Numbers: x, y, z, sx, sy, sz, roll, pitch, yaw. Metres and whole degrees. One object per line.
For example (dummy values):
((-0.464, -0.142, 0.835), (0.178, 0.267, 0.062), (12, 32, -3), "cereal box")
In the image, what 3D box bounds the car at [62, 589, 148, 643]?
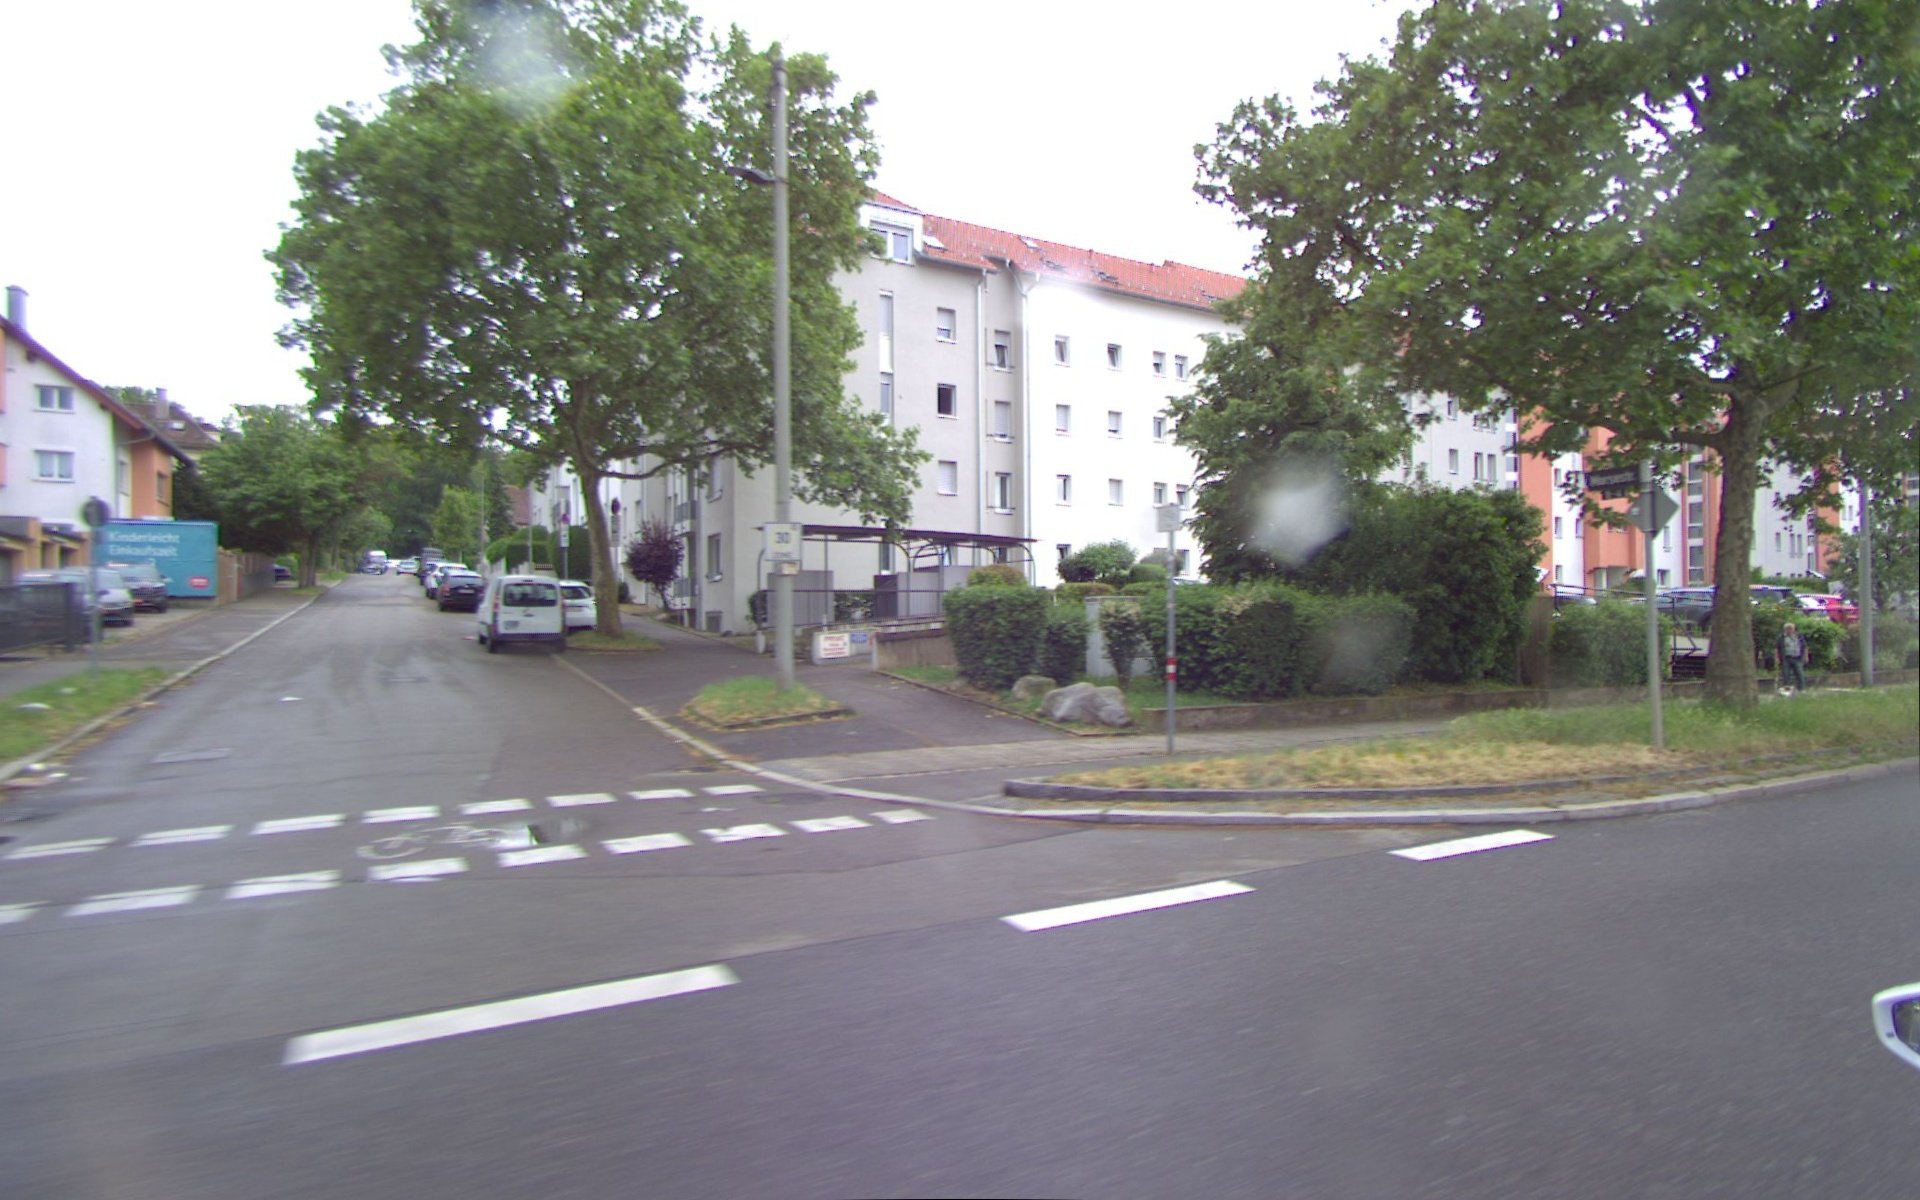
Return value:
((-20.800, 0.374, 24.502), (1.338, 1.077, 2.577), (3, 2, -35), "car")

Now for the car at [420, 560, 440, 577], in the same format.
((-40.820, -2.449, 77.353), (1.226, 1.206, 2.487), (3, 0, -29), "car")

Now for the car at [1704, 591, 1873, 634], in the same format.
((28.067, 0.401, 34.174), (1.788, 1.320, 4.070), (3, 0, -29), "car")

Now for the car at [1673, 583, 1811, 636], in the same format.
((24.529, 0.270, 31.591), (1.420, 1.563, 3.116), (3, 0, -29), "car")

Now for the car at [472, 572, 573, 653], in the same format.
((-11.039, 0.266, 25.202), (1.858, 1.802, 3.968), (3, 1, -30), "car")

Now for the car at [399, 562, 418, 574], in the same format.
((-53.641, -3.109, 97.740), (1.559, 1.077, 2.374), (3, 0, -30), "car")

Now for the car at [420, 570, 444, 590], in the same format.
((-33.010, -1.252, 62.782), (1.226, 1.206, 2.487), (3, 0, -29), "car")

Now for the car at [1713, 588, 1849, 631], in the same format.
((26.716, 0.285, 32.778), (1.420, 1.287, 3.116), (3, 0, -29), "car")

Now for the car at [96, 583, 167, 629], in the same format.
((-23.498, 0.167, 28.554), (1.321, 1.077, 2.607), (3, 2, -35), "car")

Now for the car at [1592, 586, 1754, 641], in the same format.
((21.920, 0.388, 30.994), (1.877, 1.518, 3.631), (3, 0, -33), "car")

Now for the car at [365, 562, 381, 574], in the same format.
((-53.184, -2.889, 91.061), (1.200, 1.077, 2.374), (3, 0, -30), "car")

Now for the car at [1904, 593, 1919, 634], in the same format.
((42.419, 0.627, 41.540), (1.977, 1.694, 4.523), (3, 0, -30), "car")

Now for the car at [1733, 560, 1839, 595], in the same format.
((41.902, -1.112, 51.016), (1.699, 1.623, 3.790), (3, 0, -31), "car")

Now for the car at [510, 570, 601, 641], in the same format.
((-12.149, 0.118, 30.004), (1.859, 1.801, 3.968), (7, -1, -30), "car")

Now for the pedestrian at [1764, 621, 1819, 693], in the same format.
((19.522, 1.336, 23.589), (0.826, 1.632, 0.750), (2, 0, -34), "pedestrian")

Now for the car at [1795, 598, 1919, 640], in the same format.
((34.016, 0.699, 37.219), (1.838, 1.443, 4.335), (3, 0, -29), "car")

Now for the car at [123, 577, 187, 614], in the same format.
((-27.039, -0.157, 33.794), (1.467, 1.077, 2.858), (3, 1, -35), "car")

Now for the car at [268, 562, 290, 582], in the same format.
((-40.369, -1.669, 59.526), (1.043, 1.077, 2.096), (3, 0, -35), "car")

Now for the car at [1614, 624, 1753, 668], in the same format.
((27.194, 1.708, 37.890), (1.571, 1.423, 3.950), (3, 0, -29), "car")

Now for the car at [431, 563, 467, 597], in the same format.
((-24.338, -0.958, 47.762), (1.368, 1.494, 3.133), (3, 0, -29), "car")

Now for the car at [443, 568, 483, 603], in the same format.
((-21.709, -0.635, 43.851), (1.375, 1.424, 2.951), (3, 0, -29), "car")

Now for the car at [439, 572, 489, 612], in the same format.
((-19.290, -0.319, 39.018), (1.551, 1.424, 2.951), (3, 0, -29), "car")

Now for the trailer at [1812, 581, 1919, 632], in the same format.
((30.864, 0.212, 34.012), (1.462, 1.667, 2.692), (2, 0, -29), "trailer")
